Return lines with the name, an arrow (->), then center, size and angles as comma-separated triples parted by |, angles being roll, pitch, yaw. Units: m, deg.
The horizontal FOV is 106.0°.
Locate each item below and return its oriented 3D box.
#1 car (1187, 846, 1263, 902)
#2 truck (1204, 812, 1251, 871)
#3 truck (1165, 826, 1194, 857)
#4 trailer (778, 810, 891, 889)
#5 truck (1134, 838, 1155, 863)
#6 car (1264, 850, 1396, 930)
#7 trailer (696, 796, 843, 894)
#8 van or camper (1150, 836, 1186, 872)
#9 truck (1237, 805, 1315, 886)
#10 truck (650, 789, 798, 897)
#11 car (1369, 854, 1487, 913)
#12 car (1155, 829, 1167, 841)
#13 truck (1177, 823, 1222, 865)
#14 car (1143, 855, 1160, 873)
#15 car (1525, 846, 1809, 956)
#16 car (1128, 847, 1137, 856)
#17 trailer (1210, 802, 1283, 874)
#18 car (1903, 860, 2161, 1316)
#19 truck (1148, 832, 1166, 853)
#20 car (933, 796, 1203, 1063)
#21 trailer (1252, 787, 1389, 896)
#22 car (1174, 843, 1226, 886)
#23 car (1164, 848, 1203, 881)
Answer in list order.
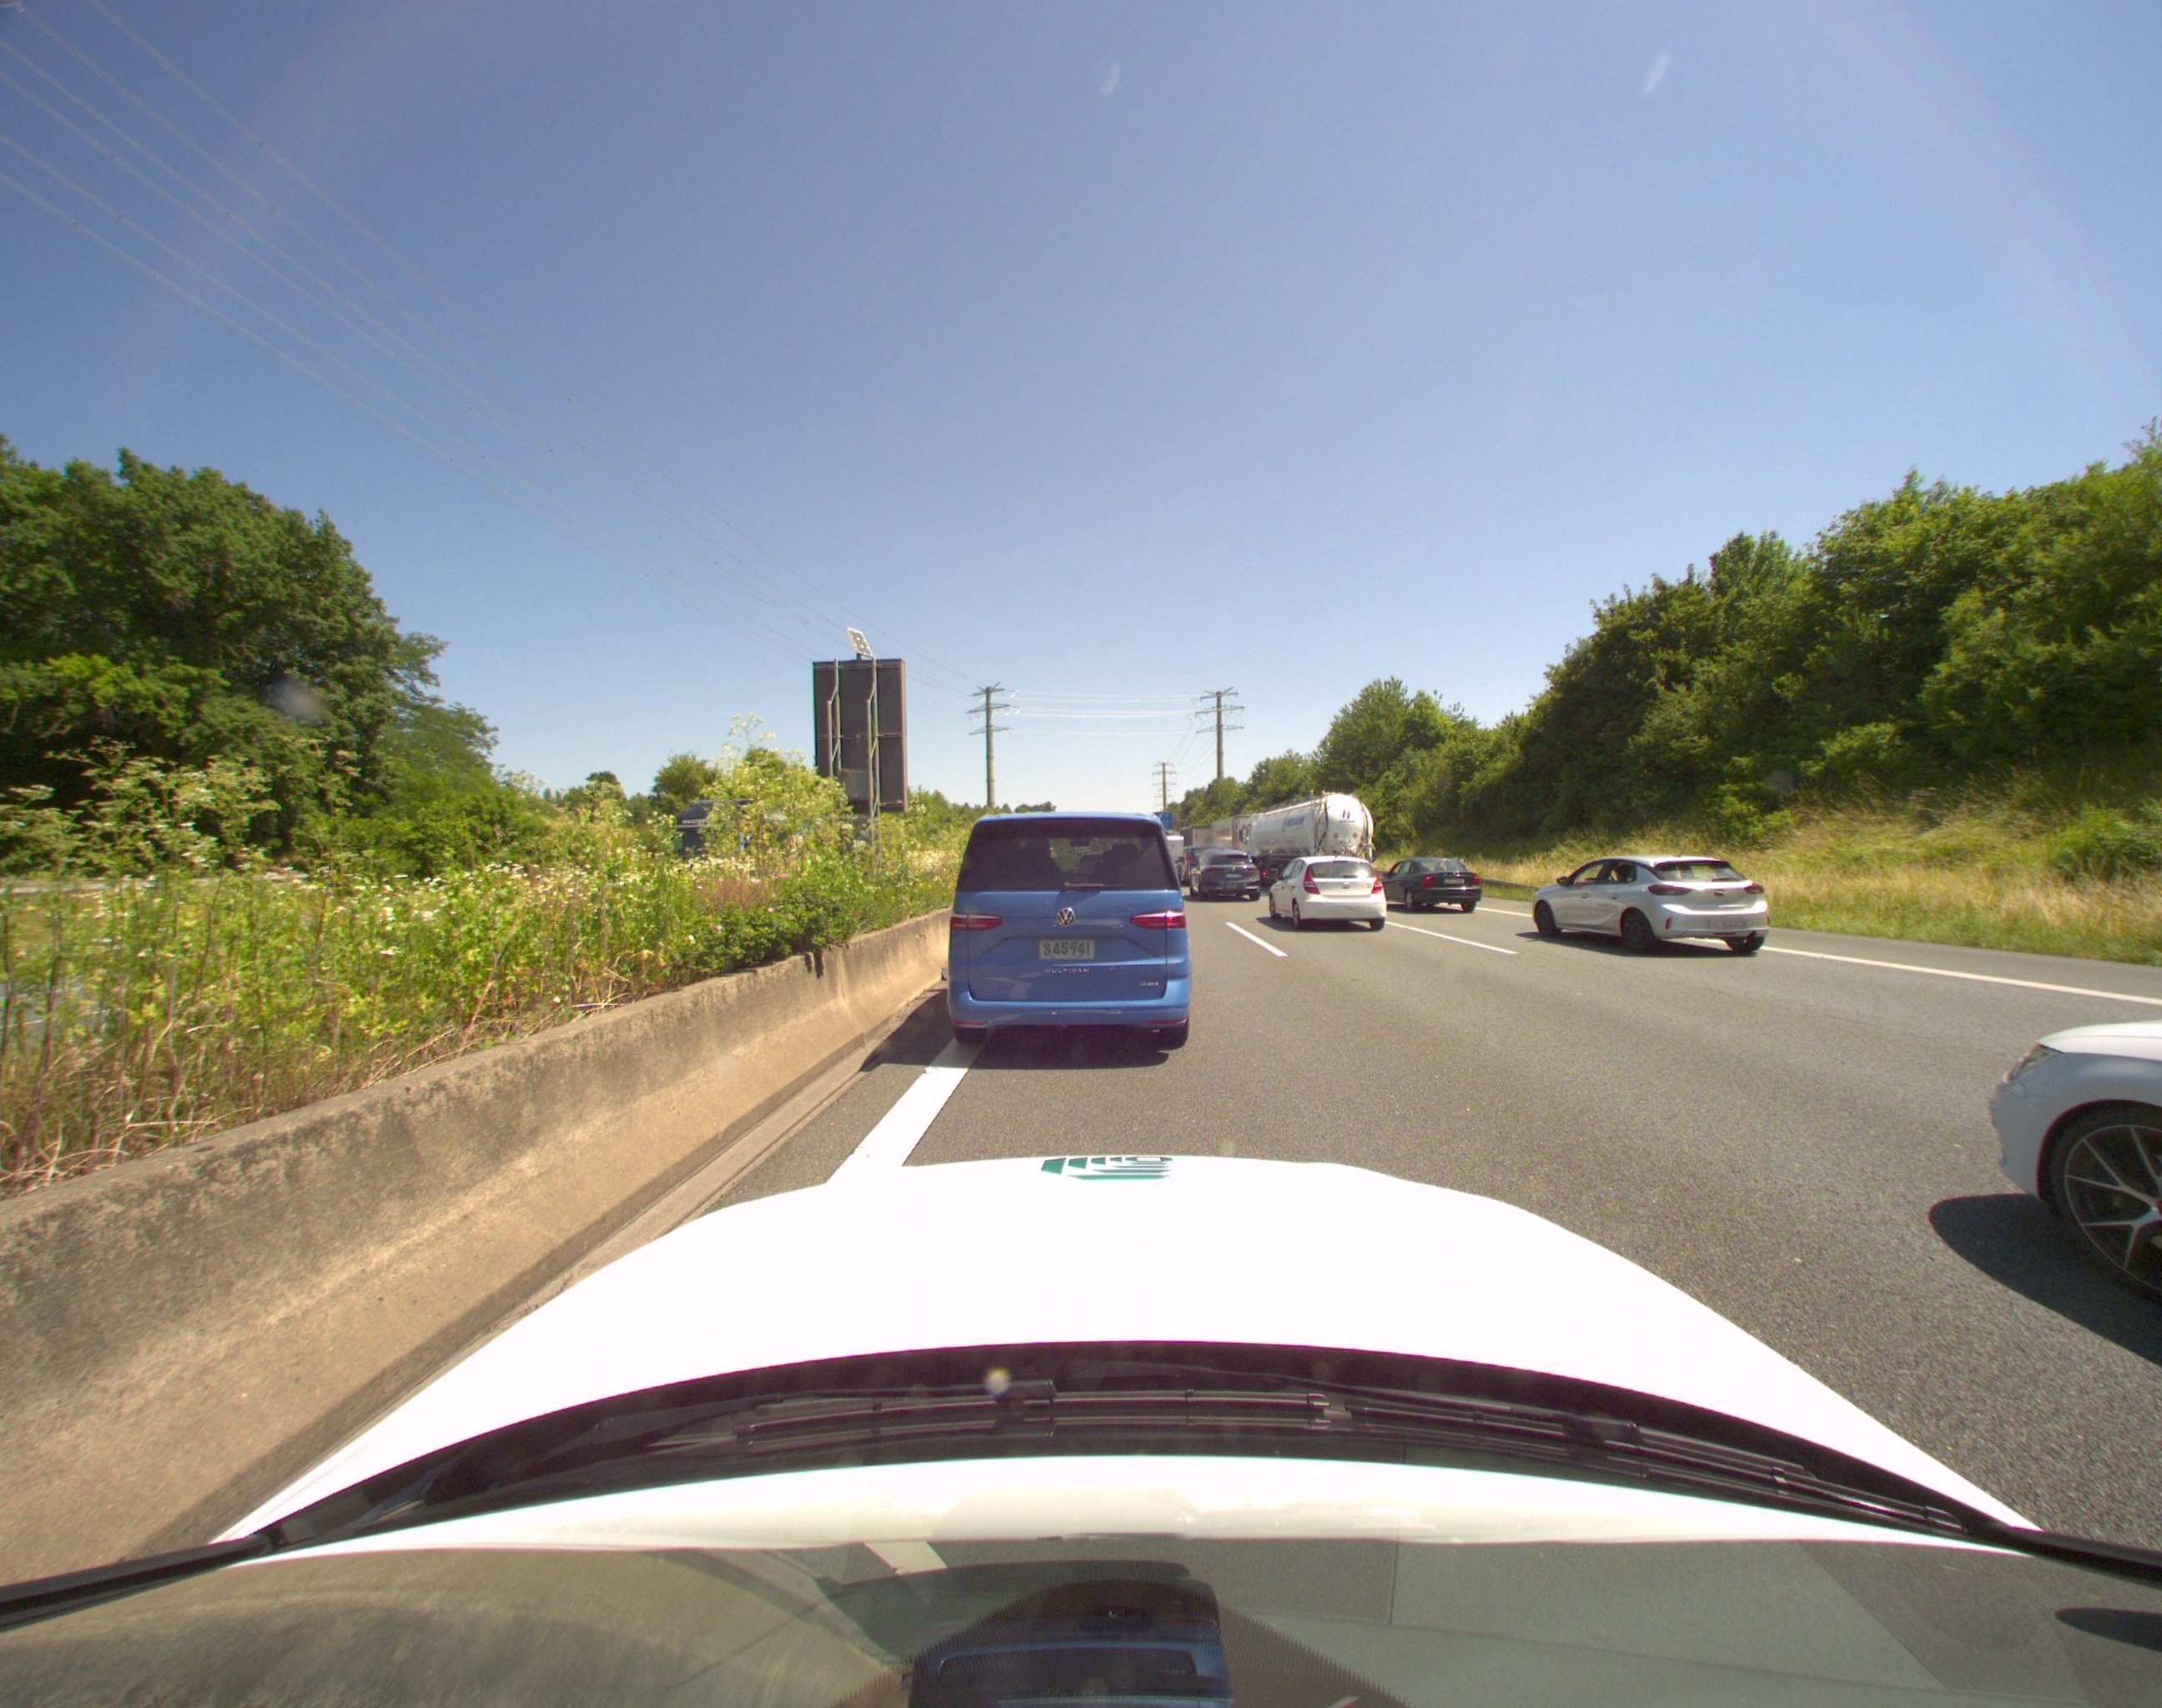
car -> 4.899, 0.680, 28.351 | 1.991, 1.715, 4.628 | -2, -1, 3
truck -> 11.660, -0.920, 65.187 | 2.901, 4.469, 5.144 | -2, 0, 2
truck -> 12.803, -1.512, 106.983 | 2.883, 3.766, 13.355 | -1, -1, 3
trailer -> -12.950, -0.201, 43.696 | 3.170, 3.762, 8.204 | -2, 0, 2
truck -> 9.881, -0.510, 127.298 | 2.883, 3.766, 10.148 | -1, -1, 3
car -> 5.224, 0.725, 17.624 | 1.809, 1.485, 4.003 | -2, -1, 3
trailer -> -13.288, -0.330, 35.620 | 3.113, 3.759, 7.872 | -1, 0, 2
van or camper -> 7.744, 0.003, 73.422 | 2.944, 3.022, 7.109 | -1, -1, 4
truck -> 9.995, -0.386, 42.272 | 2.782, 3.836, 5.574 | -2, 0, 2
truck -> -13.411, -0.372, 31.163 | 3.060, 3.709, 5.465 | -1, 0, 2
car -> 9.311, 0.765, 22.193 | 1.634, 1.416, 3.991 | -2, -1, 3
car -> 14.576, -3.518, 148.659 | 1.985, 2.014, 4.002 | -1, -1, 2
truck -> 11.828, -0.860, 82.805 | 2.993, 3.766, 15.724 | -1, -1, 3
car -> 8.253, 1.134, 95.898 | 1.828, 1.998, 4.004 | -2, -1, 4
car -> 9.011, 0.630, 13.023 | 1.724, 1.443, 4.030 | -2, 0, 2
car -> 12.284, -0.522, 192.881 | 1.986, 2.126, 4.001 | -1, -1, 2
trailer -> 11.385, -0.966, 57.387 | 2.901, 4.469, 12.158 | -2, 0, 2
car -> 4.252, 0.717, 1.244 | 1.740, 1.443, 4.316 | -2, -1, 3
truck -> 17.859, -2.697, 192.628 | 3.553, 4.517, 10.297 | -1, -1, 2
car -> -0.010, 0.532, 7.776 | 1.912, 1.886, 4.002 | 0, 0, 2
trailer -> 9.782, -0.423, 34.893 | 2.751, 3.845, 11.490 | -2, 0, 2
car -> 5.857, 0.543, 40.457 | 1.917, 1.925, 4.235 | -2, -1, 0
car -> 6.413, 0.651, 51.569 | 1.917, 1.925, 4.235 | -2, -1, 0
